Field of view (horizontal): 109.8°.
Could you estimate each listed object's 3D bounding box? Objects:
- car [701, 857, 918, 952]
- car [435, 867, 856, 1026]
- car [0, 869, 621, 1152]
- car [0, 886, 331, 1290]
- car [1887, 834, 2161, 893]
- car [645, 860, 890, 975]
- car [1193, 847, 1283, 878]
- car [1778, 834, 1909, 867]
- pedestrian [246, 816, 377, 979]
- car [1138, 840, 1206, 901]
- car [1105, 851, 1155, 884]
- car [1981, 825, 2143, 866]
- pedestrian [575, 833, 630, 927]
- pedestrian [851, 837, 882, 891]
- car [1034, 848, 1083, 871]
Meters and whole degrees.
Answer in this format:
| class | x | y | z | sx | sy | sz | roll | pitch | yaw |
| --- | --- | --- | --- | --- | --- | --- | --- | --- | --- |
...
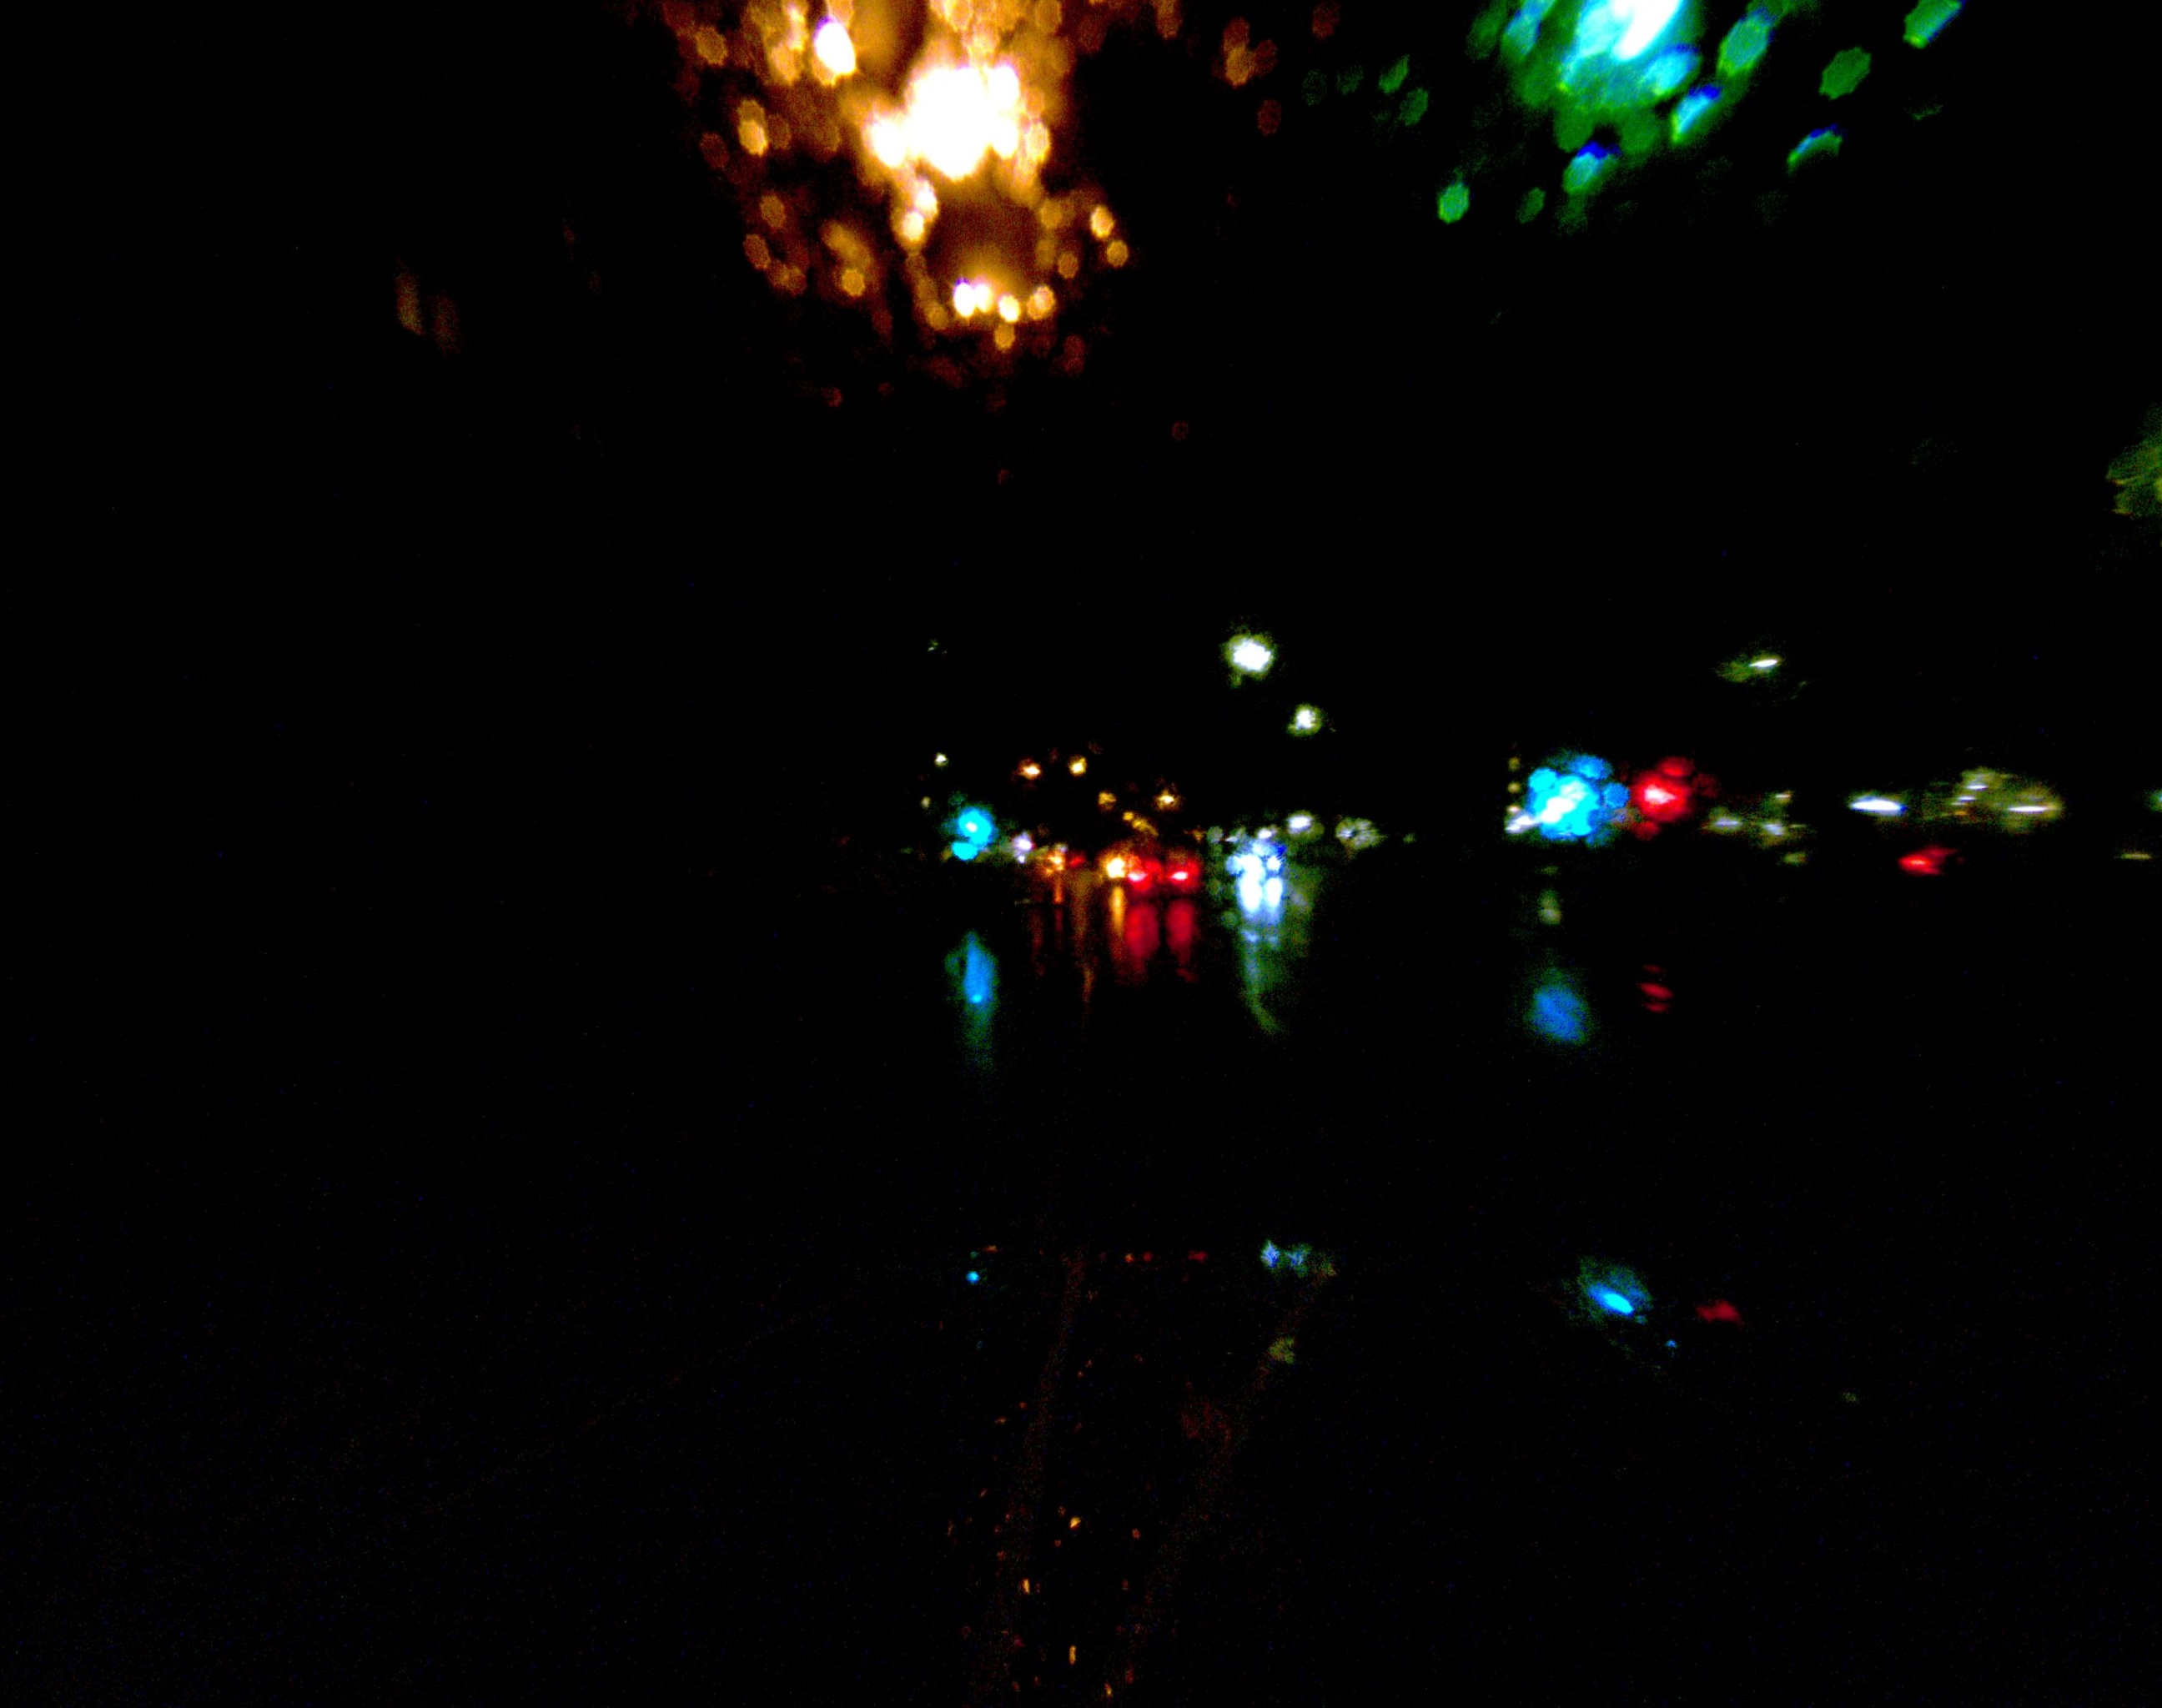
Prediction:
| class | x | y | z | sx | sy | sz | roll | pitch | yaw |
| --- | --- | --- | --- | --- | --- | --- | --- | --- | --- |
| car | -5.218 | 0.876 | 14.765 | 3.607 | 1.552 | 1.707 | -1 | 1 | -36 |
| car | -5.017 | 0.927 | 9.187 | 4.122 | 1.483 | 1.590 | 0 | 0 | -35 |
| car | -5.617 | 0.954 | 5.862 | 3.488 | 1.552 | 1.633 | -1 | 1 | -31 |
| car | -5.708 | 1.010 | 3.156 | 3.403 | 1.552 | 1.634 | -1 | 1 | -34 |
| car | 24.939 | 0.254 | 20.023 | 4.717 | 1.417 | 2.004 | -1 | 0 | 32 |
| car | -4.992 | 0.904 | 12.212 | 3.403 | 1.583 | 1.590 | 0 | 0 | -34 |
| car | 7.675 | 0.373 | 37.732 | 2.002 | 1.417 | 5.059 | -1 | 1 | -21 |
| car | 37.760 | -0.182 | 37.774 | 4.210 | 1.557 | 1.853 | -1 | 1 | 28 |
| pedestrian | -8.804 | 0.485 | 8.726 | 0.657 | 1.779 | 0.784 | 0 | -1 | 2 |
| car | 2.846 | 0.466 | 24.508 | 1.810 | 1.759 | 4.272 | -1 | 1 | 2 |
| car | 2.262 | 0.593 | 36.006 | 1.828 | 1.417 | 4.204 | -1 | 1 | -4 |
| car | 43.940 | -0.366 | 34.187 | 3.989 | 1.761 | 2.004 | -1 | 1 | 29 |
| pedestrian | -8.654 | 0.465 | 13.764 | 0.575 | 1.654 | 0.601 | 0 | -1 | 2 |
| pedestrian | -7.615 | 0.368 | 27.010 | 0.806 | 1.894 | 0.884 | 0 | -1 | 2 |
| car | -1.520 | 0.356 | 49.613 | 1.627 | 1.417 | 4.197 | -1 | 1 | -27 |
